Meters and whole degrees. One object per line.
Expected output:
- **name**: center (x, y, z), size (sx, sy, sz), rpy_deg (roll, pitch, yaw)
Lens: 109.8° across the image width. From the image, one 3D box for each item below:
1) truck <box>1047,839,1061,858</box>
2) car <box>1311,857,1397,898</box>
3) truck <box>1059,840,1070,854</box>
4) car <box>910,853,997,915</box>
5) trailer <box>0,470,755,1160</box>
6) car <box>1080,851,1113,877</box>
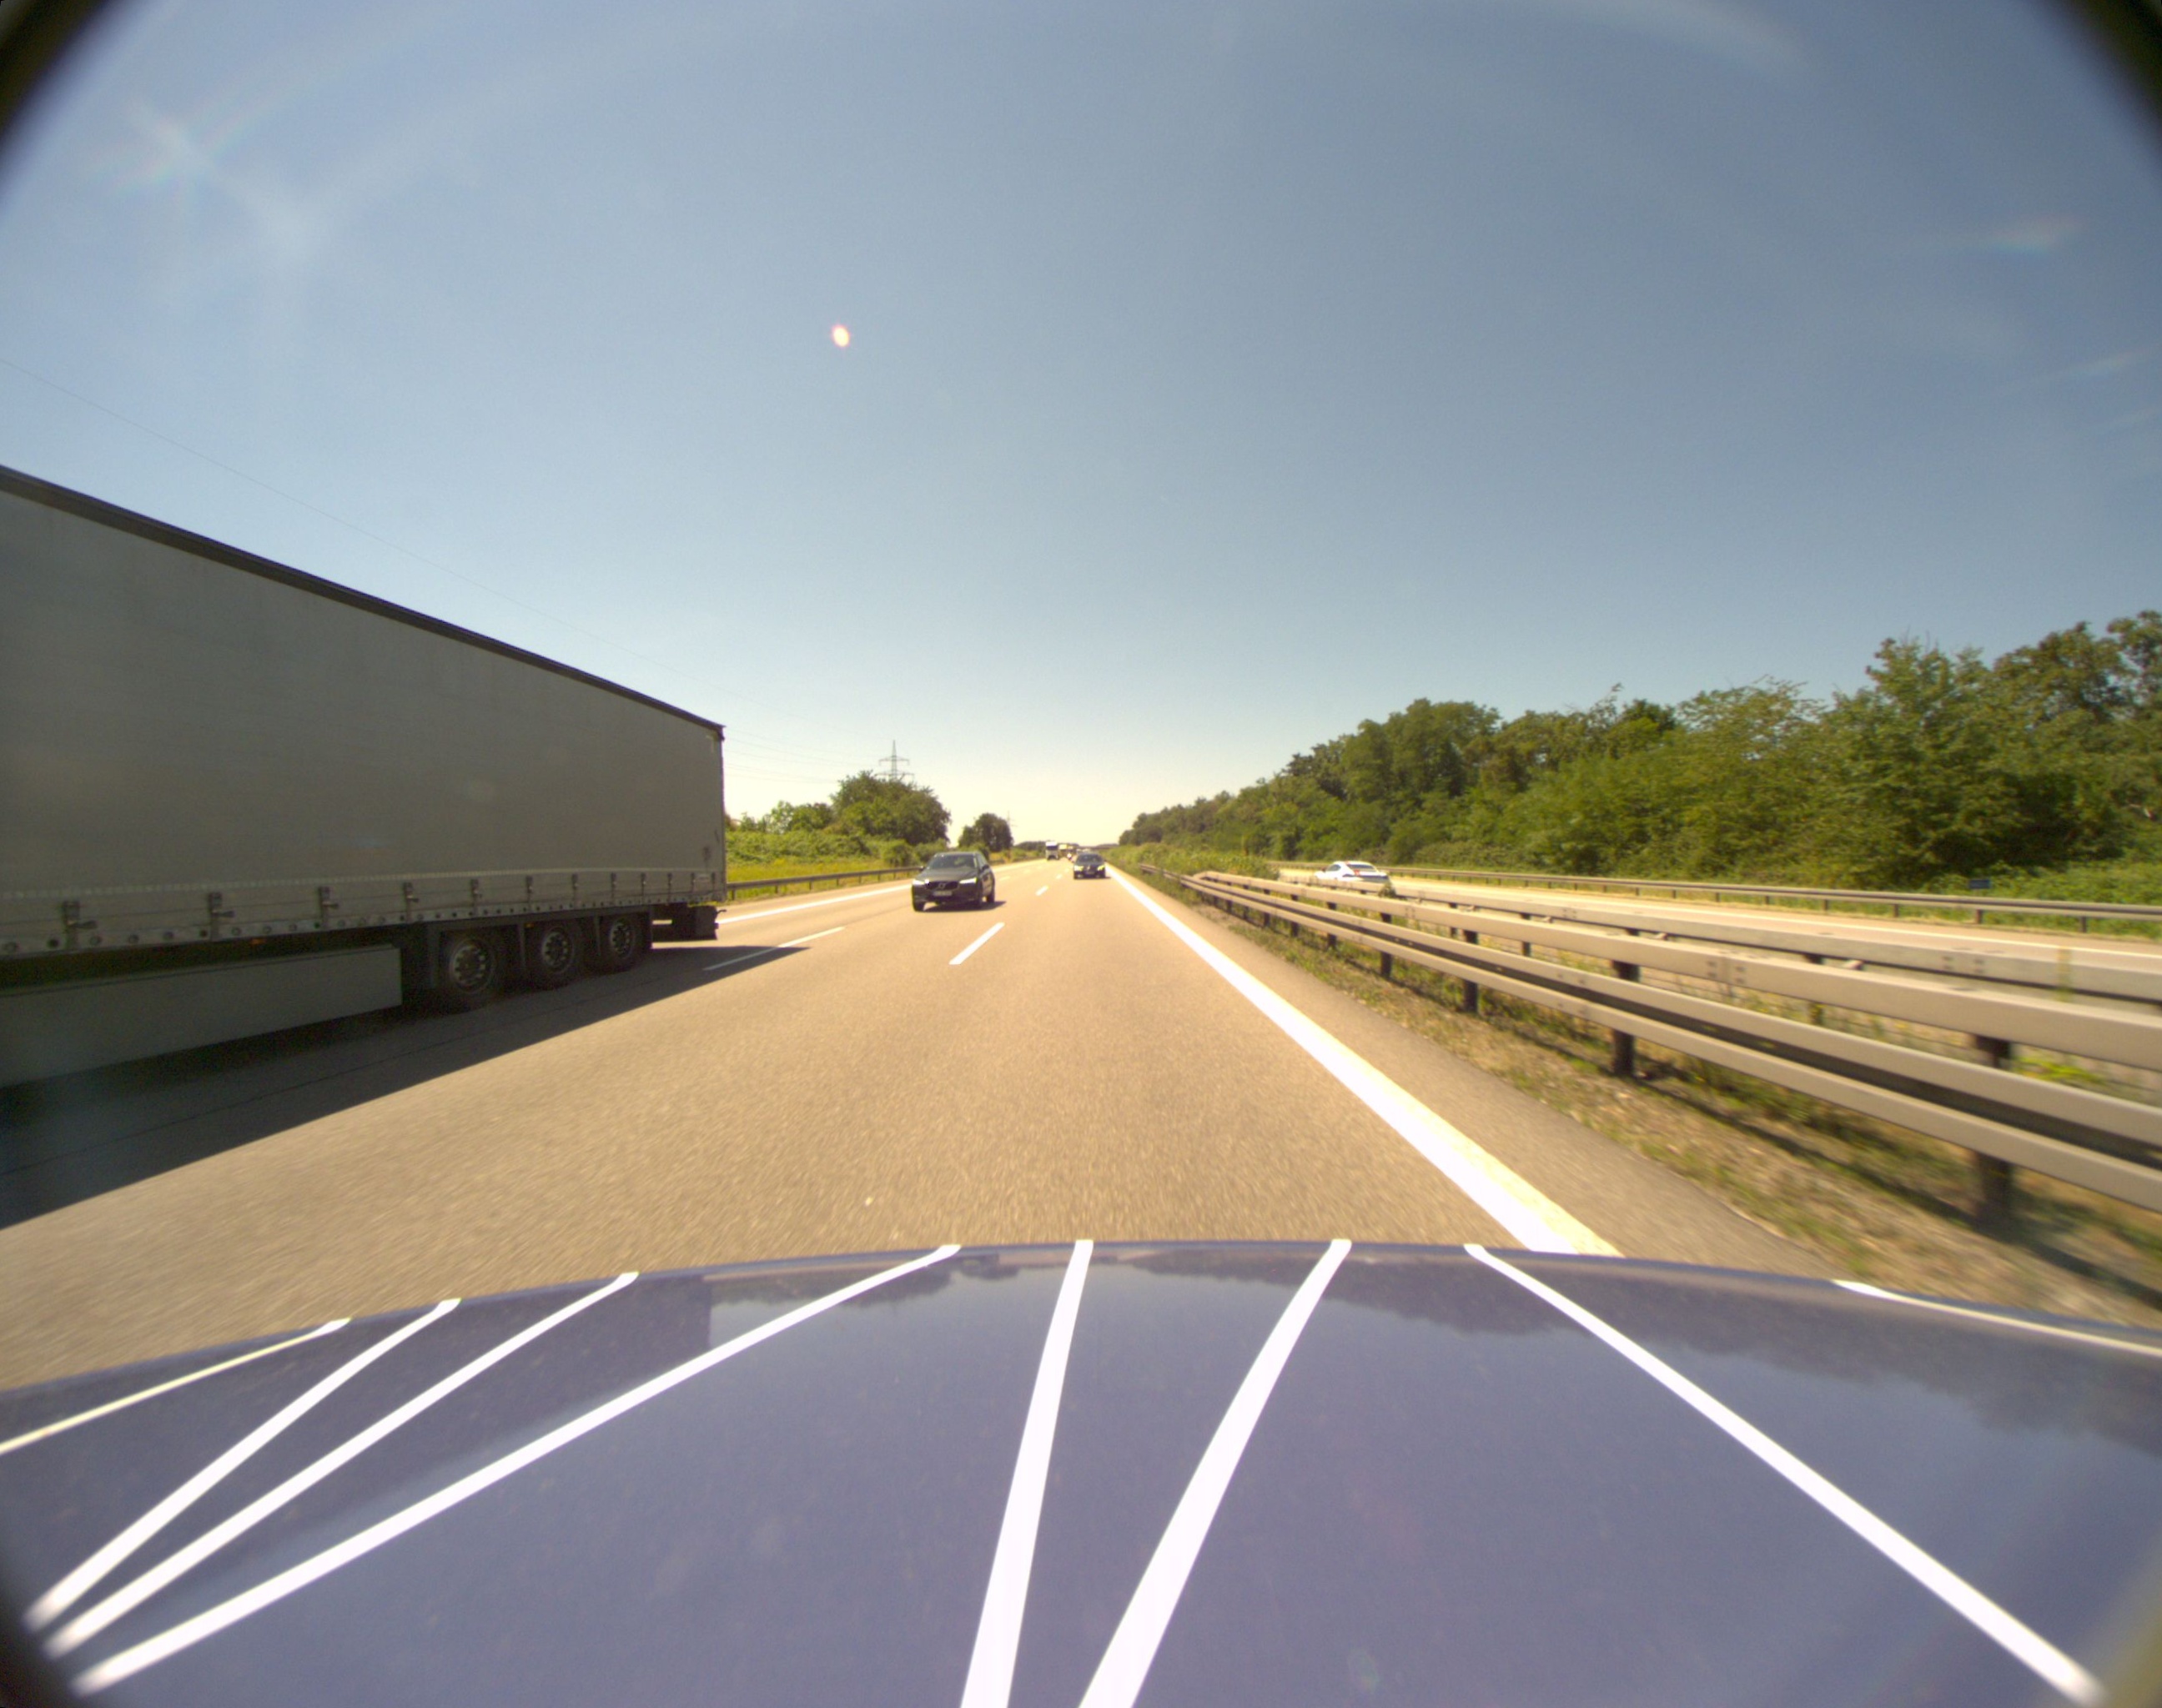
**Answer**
- **truck**: center (-5.807, -1.209, 163.504), size (2.573, 3.871, 5.722), rpy_deg (-2, 1, 0)
- **car**: center (9.941, 0.826, 27.982), size (1.693, 1.307, 4.084), rpy_deg (1, 1, 1)
- **truck**: center (-5.090, -2.056, 236.745), size (2.978, 4.240, 12.609), rpy_deg (0, 1, 0)
- **car**: center (-3.686, 0.803, 22.651), size (1.878, 1.614, 4.003), rpy_deg (-1, 0, 0)
- **trailer**: center (-7.723, -0.244, 7.926), size (2.743, 4.083, 13.120), rpy_deg (-2, 1, 1)
- **car**: center (0.843, 0.552, 44.592), size (1.808, 1.385, 3.999), rpy_deg (-2, 1, 0)
